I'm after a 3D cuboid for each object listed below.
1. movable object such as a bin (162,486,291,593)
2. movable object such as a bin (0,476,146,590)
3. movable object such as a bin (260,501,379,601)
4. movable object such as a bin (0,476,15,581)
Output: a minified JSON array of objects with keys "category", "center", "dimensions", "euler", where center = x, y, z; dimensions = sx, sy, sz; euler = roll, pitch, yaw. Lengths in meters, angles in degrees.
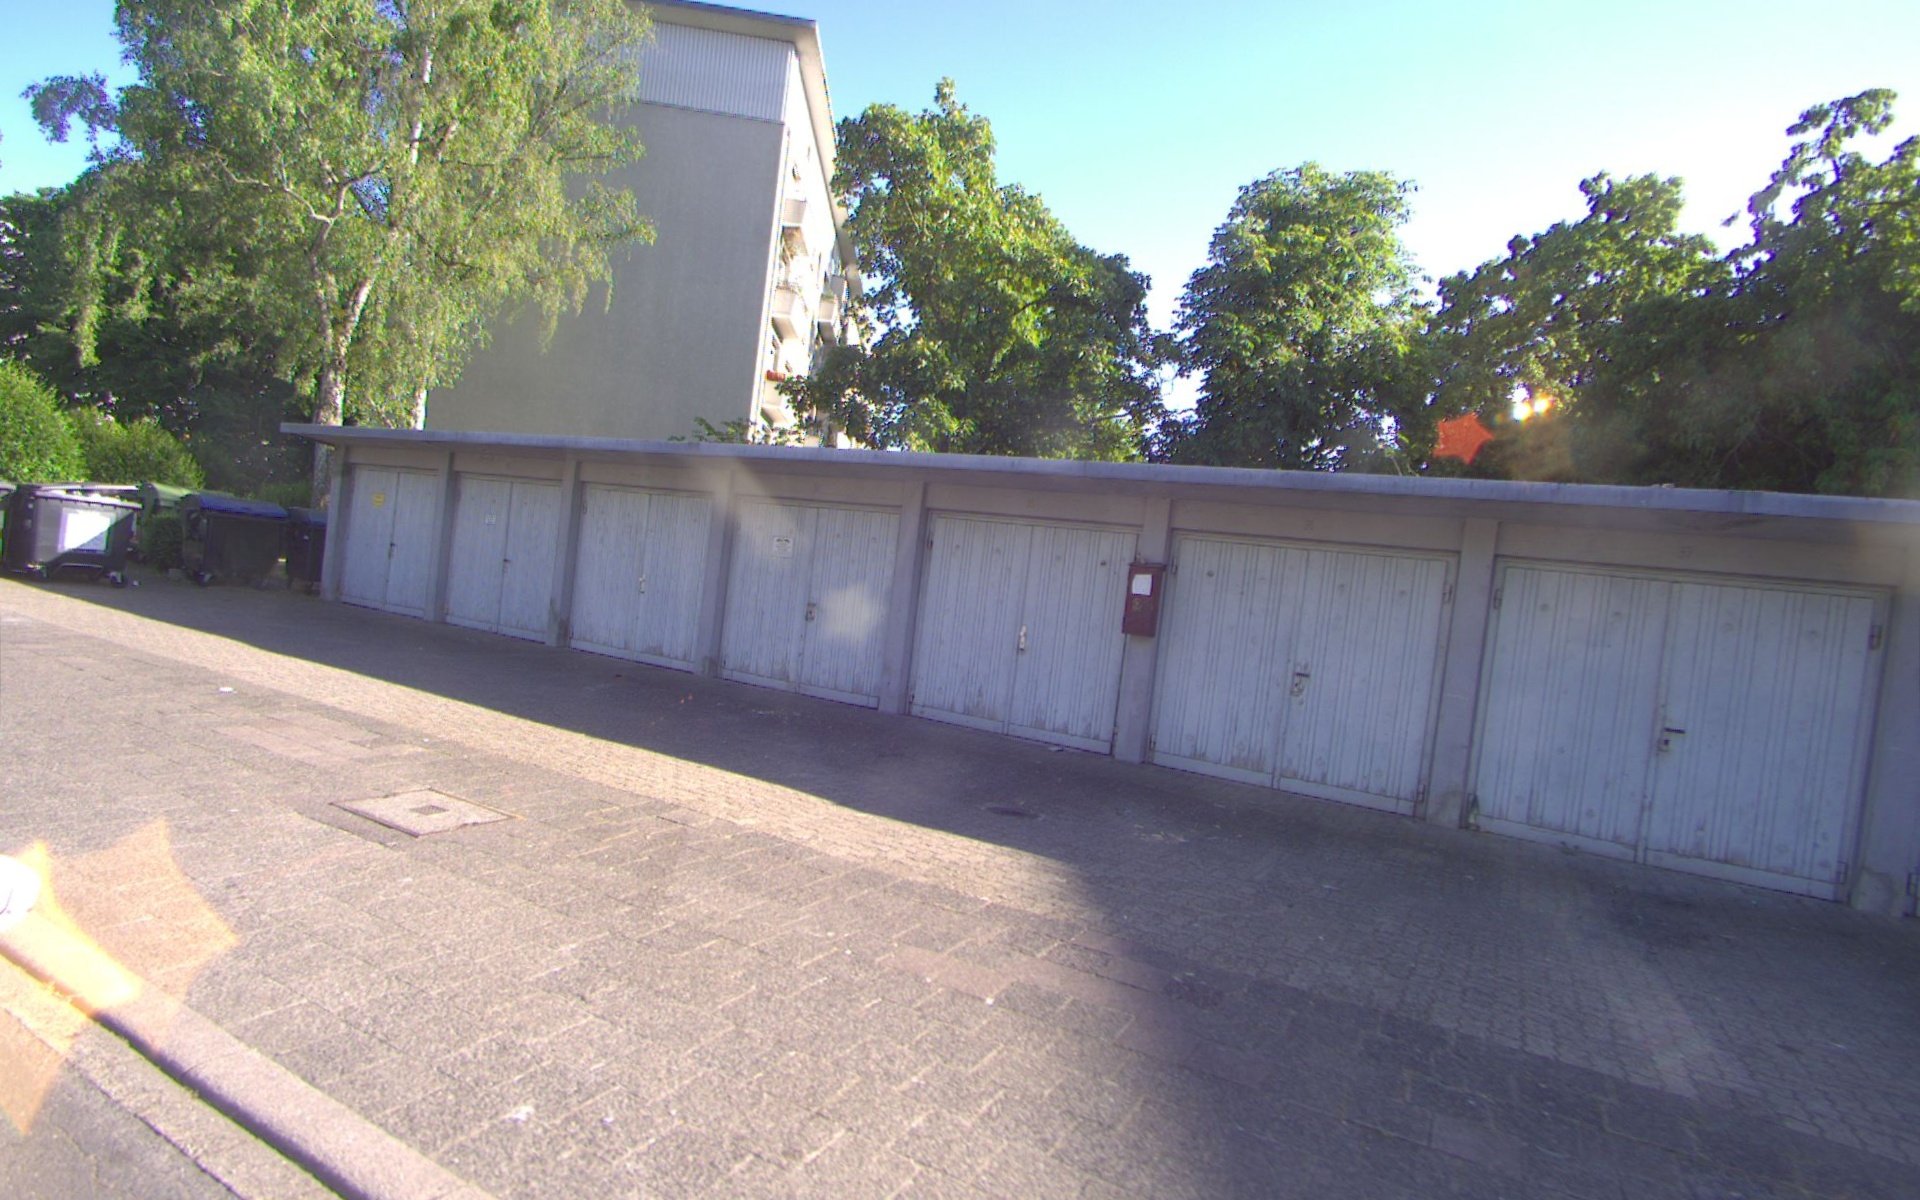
[{"category":"movable object such as a bin","center":[-12.140,-0.995,16.665],"dimensions":[1.114,1.485,1.277],"euler":[12,3,32]},{"category":"movable object such as a bin","center":[-12.497,-0.926,14.131],"dimensions":[1.114,1.382,1.277],"euler":[7,1,32]},{"category":"movable object such as a bin","center":[-11.236,-0.850,17.662],"dimensions":[1.114,1.485,1.277],"euler":[12,3,32]},{"category":"movable object such as a bin","center":[-13.449,-1.042,13.187],"dimensions":[1.114,1.382,1.225],"euler":[7,1,32]}]
